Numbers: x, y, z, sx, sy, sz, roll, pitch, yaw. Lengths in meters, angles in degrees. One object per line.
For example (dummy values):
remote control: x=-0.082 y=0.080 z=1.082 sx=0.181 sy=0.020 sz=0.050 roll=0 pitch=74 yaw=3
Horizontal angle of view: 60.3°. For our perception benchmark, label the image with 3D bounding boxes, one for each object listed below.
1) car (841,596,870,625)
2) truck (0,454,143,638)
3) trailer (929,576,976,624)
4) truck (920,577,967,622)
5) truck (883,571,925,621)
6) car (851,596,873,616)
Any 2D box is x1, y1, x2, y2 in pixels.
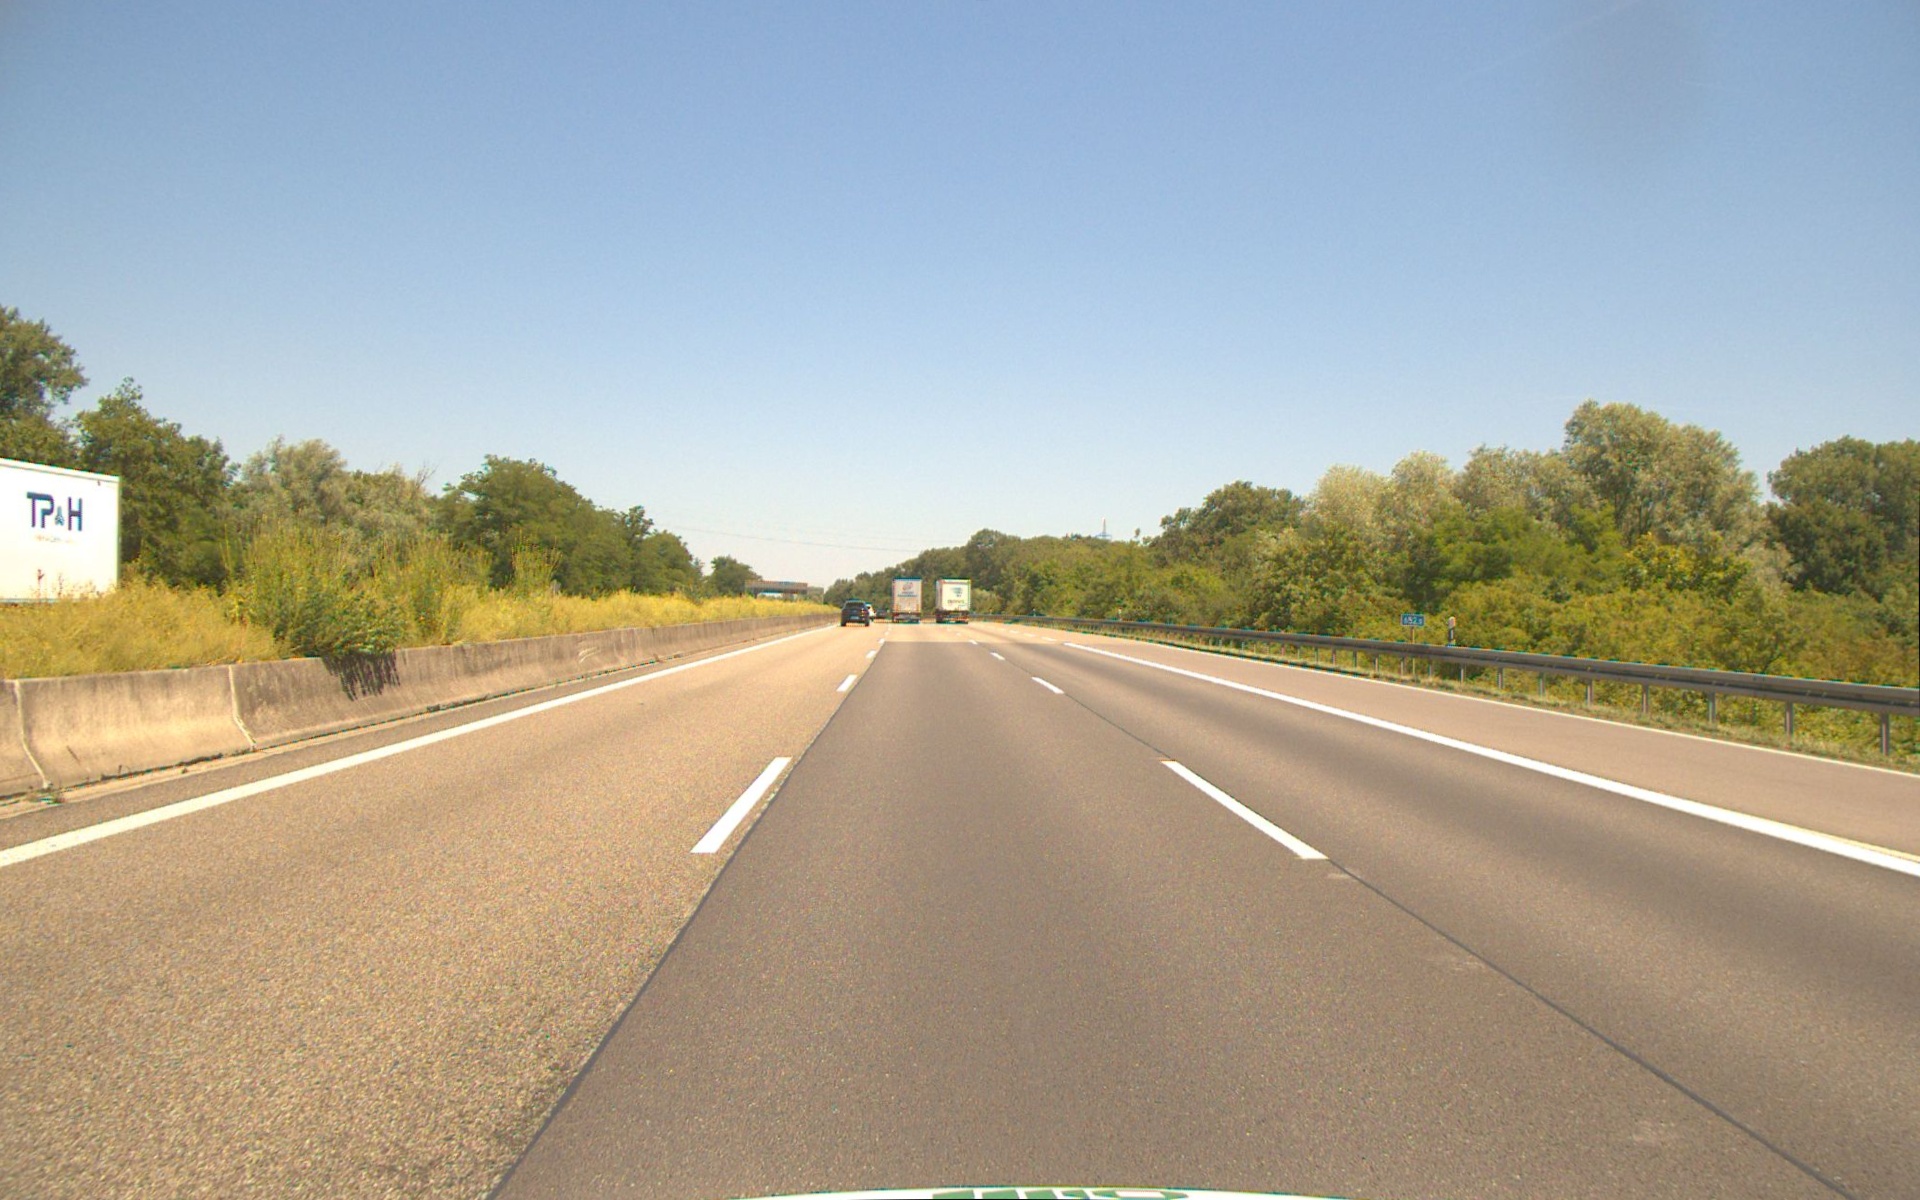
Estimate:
car: x=-7.259 y=0.739 z=115.137 sx=1.954 sy=1.907 sz=3.998 roll=1 pitch=0 yaw=-3
truck: x=-21.474 y=-1.137 z=31.719 sx=3.526 sy=3.800 sz=17.477 roll=1 pitch=0 yaw=-2
trailer: x=-0.740 y=-0.006 z=151.107 sx=3.303 sy=4.215 sz=9.079 roll=1 pitch=0 yaw=-6
truck: x=-1.669 y=-0.051 z=158.985 sx=3.263 sy=4.124 sz=10.936 roll=1 pitch=0 yaw=-7
truck: x=-5.099 y=-0.343 z=148.429 sx=3.167 sy=4.275 sz=8.456 roll=1 pitch=0 yaw=-6
car: x=-9.980 y=0.591 z=167.641 sx=1.955 sy=1.907 sz=3.994 roll=2 pitch=0 yaw=-7
